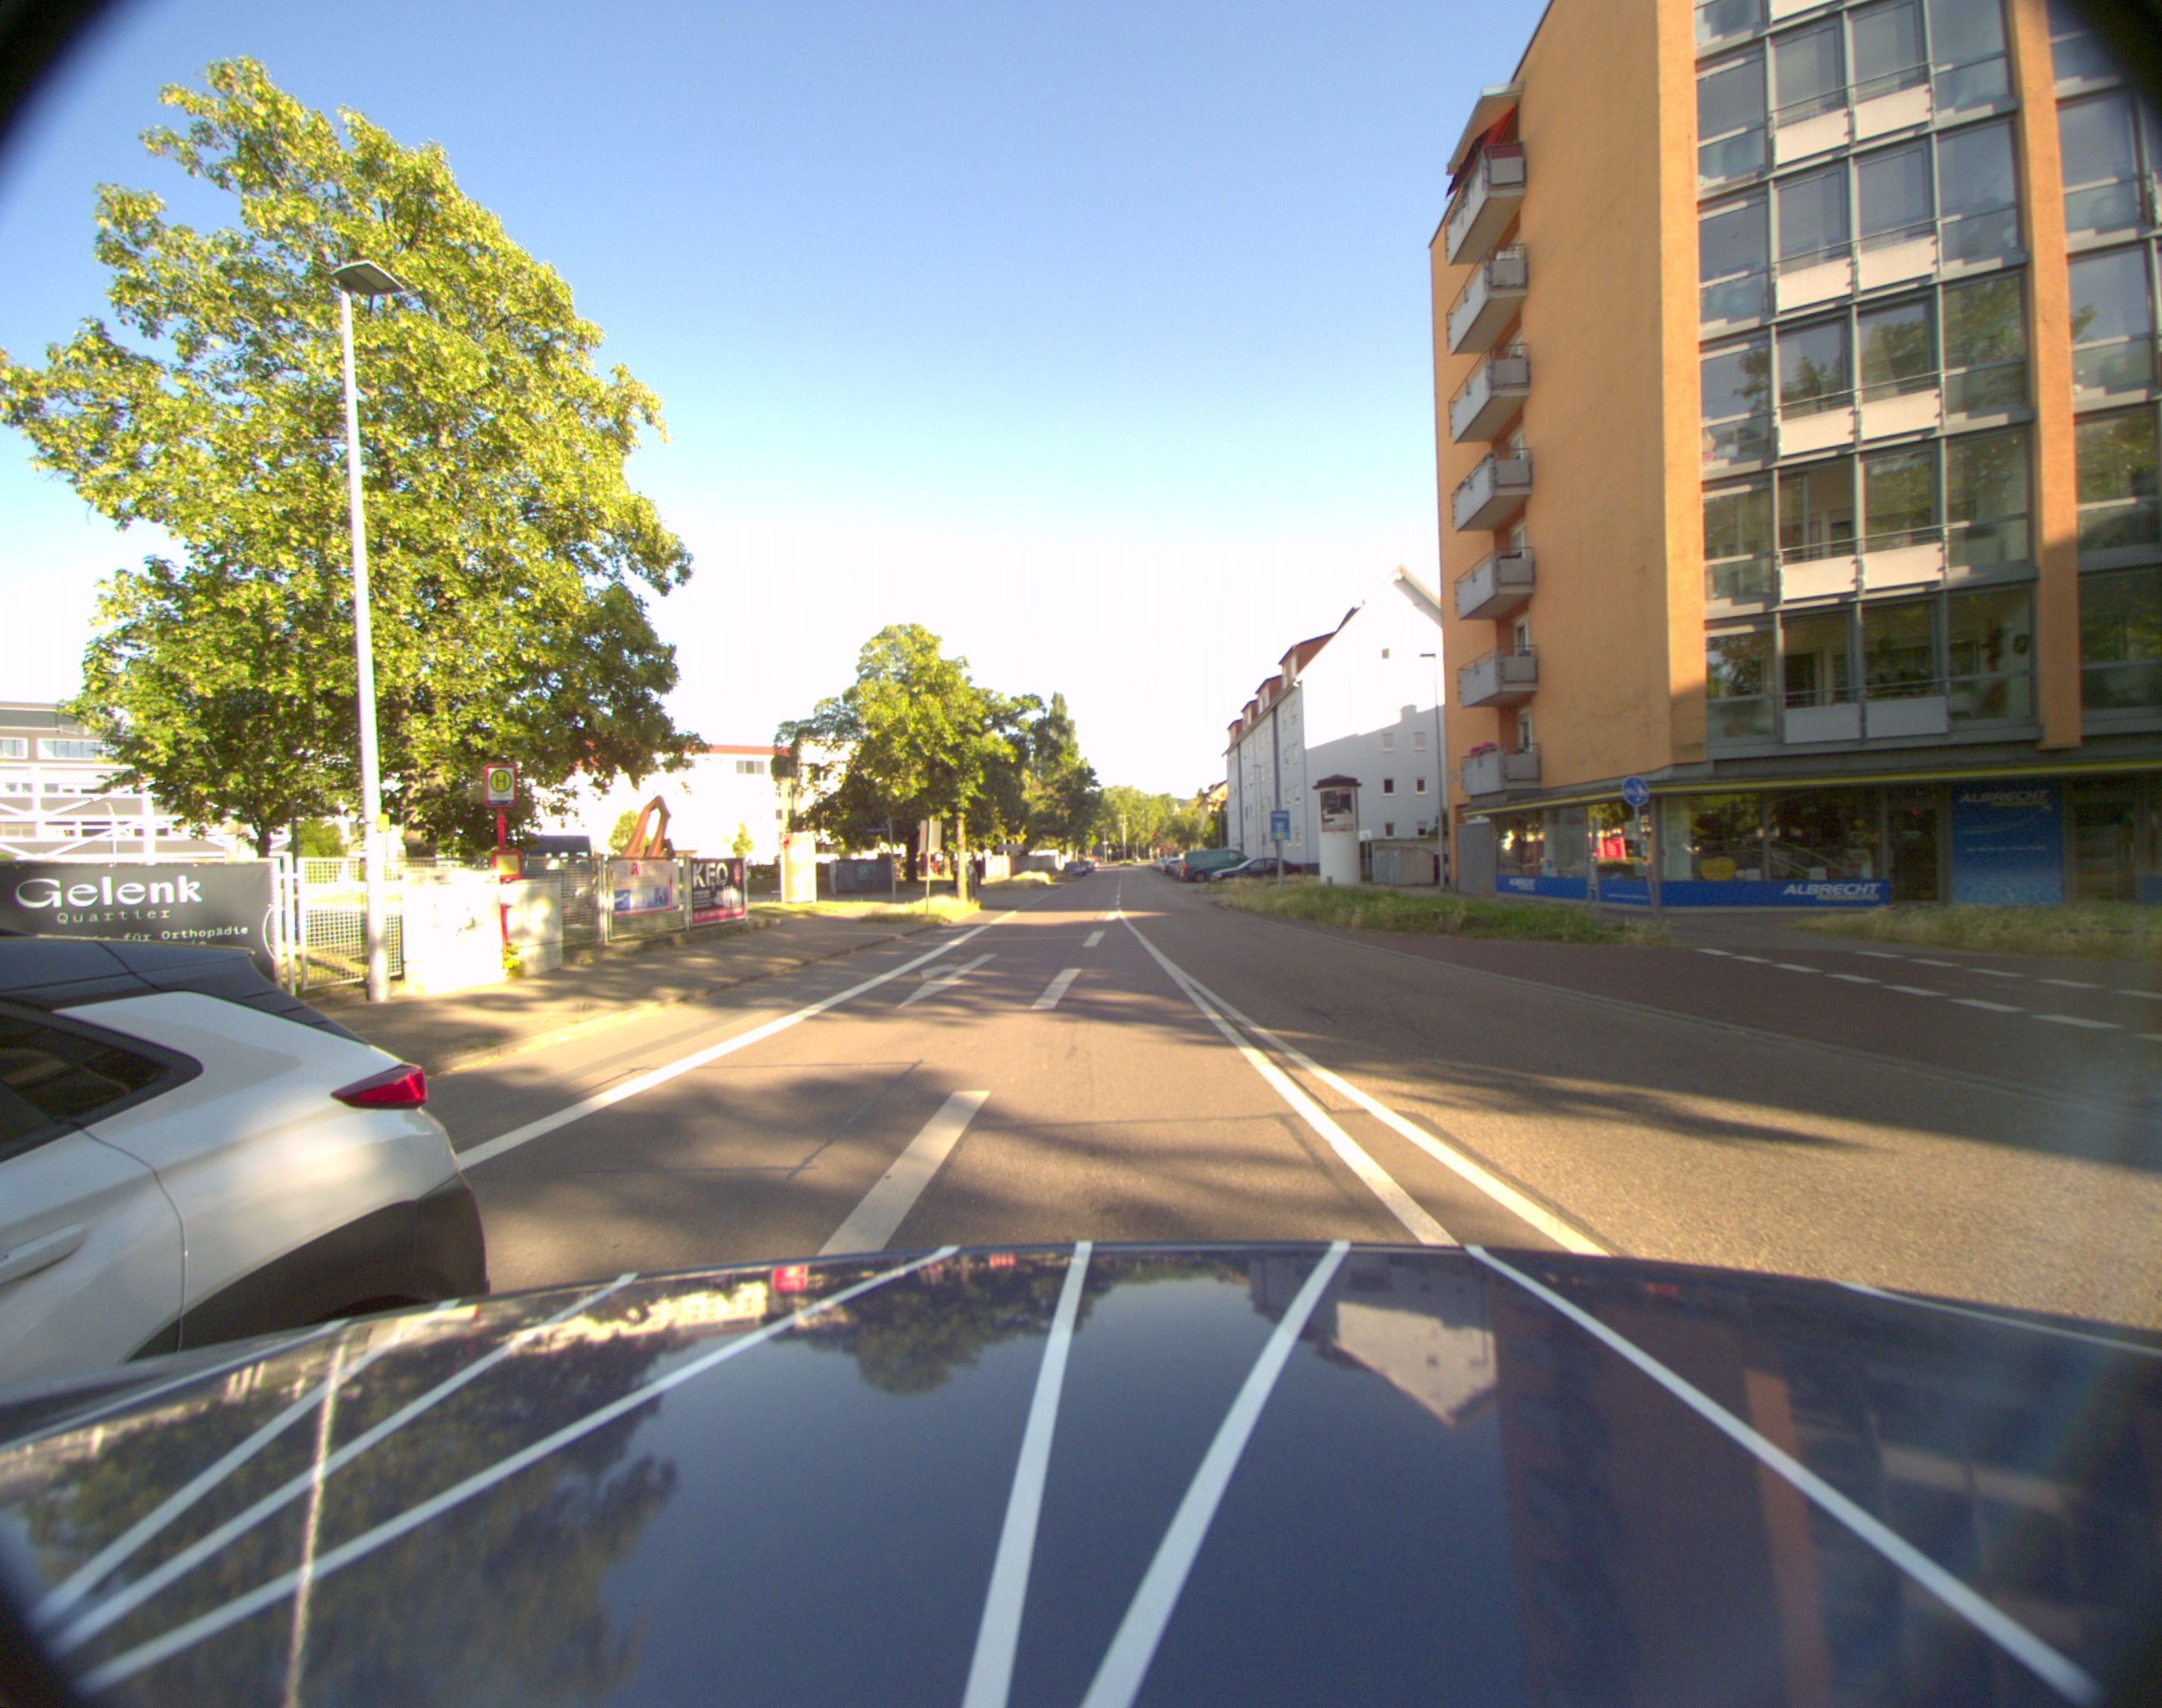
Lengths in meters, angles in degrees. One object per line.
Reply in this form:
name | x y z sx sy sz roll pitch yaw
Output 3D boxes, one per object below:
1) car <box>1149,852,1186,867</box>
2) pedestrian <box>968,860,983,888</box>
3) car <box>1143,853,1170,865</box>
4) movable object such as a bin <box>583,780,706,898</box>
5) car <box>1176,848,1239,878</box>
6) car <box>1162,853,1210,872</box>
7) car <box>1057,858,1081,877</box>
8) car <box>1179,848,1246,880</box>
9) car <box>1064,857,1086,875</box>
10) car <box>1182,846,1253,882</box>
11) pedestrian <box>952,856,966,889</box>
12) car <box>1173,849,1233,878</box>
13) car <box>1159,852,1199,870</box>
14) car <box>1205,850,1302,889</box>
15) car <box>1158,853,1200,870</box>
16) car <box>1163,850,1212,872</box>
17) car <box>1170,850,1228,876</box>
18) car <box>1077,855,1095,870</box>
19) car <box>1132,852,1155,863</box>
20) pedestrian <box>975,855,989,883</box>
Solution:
car | 10.219 0.641 90.189 4.257 1.564 1.867 -2 1 5
pedestrian | -5.522 1.044 39.830 0.609 1.426 0.639 -2 1 1
car | 10.462 0.700 105.241 3.538 1.564 1.867 -2 1 5
movable object such as a bin | -22.234 -0.702 38.548 3.986 5.447 6.016 -3 1 -42
car | 8.495 0.585 51.342 3.995 1.805 2.000 -2 1 5
car | 9.564 0.770 69.373 4.257 1.564 1.867 -2 1 5
car | -1.094 1.216 69.595 1.998 1.521 3.999 -2 1 1
car | 8.352 0.621 48.586 3.995 1.805 2.000 -2 1 5
car | -0.591 1.148 73.943 1.998 1.521 3.999 -2 1 1
car | 8.189 0.591 45.938 3.996 1.936 2.000 -2 1 4
pedestrian | -6.441 0.973 40.118 0.609 1.727 0.638 -2 1 -5
car | 8.566 0.665 53.693 4.059 1.805 1.937 -2 1 5
car | 10.255 0.722 80.066 4.071 1.741 1.899 -2 1 5
car | 8.293 0.730 36.873 4.423 1.652 2.001 -2 1 9
car | 10.303 0.752 79.930 4.257 1.564 1.867 -2 1 5
car | 9.270 0.605 66.487 4.117 1.762 1.757 -2 1 5
car | 8.743 0.660 56.436 4.071 1.741 1.899 -2 1 5
car | 0.564 0.947 87.976 1.998 1.521 3.999 -2 1 1
car | 9.698 0.584 118.222 3.538 1.564 1.867 -2 1 5
pedestrian | -5.953 0.876 45.818 0.696 1.659 0.638 -2 1 -3
